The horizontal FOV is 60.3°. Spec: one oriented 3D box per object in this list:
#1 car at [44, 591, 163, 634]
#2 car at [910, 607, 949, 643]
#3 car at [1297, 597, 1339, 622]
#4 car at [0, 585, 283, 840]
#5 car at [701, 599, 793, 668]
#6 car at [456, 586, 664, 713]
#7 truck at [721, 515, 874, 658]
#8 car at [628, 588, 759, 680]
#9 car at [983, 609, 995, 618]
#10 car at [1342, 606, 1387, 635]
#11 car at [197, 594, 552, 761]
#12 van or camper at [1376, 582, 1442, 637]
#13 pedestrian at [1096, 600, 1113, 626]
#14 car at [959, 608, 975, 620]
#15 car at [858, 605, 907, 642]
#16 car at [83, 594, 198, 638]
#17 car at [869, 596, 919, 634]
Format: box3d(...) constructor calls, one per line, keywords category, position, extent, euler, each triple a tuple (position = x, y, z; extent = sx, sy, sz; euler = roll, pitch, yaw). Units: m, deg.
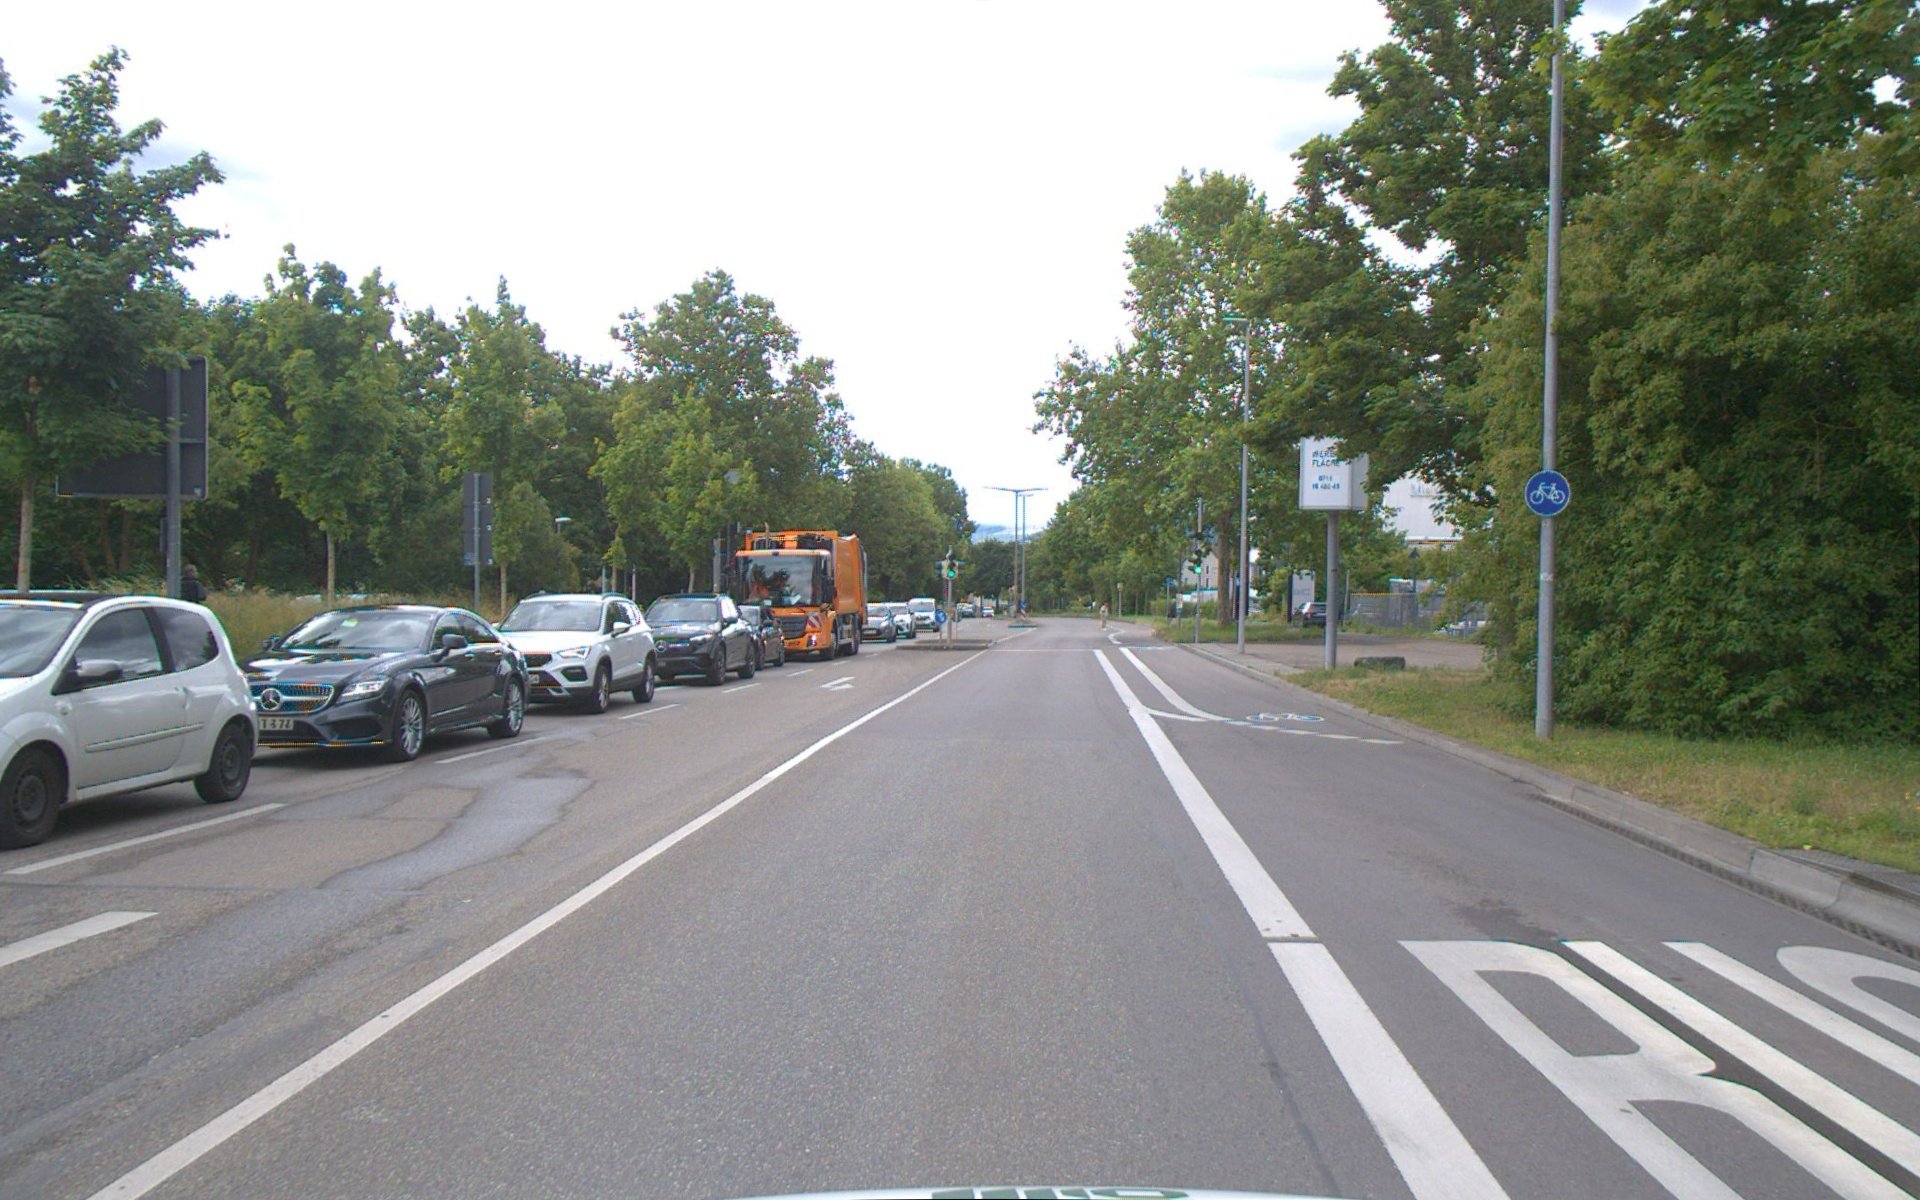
box3d(category="car", position=(-42.346, 0.616, 81.847), extent=(4.864, 2.049, 2.000), euler=(0, 0, 1))
box3d(category="car", position=(-1.619, 1.341, 90.230), extent=(1.808, 1.835, 4.651), euler=(-2, 0, 2))
box3d(category="car", position=(19.600, 0.519, 90.680), extent=(1.674, 1.378, 4.346), euler=(0, 0, 4))
box3d(category="car", position=(-6.048, 0.616, 10.721), extent=(1.605, 1.415, 3.764), euler=(0, 0, 3))
box3d(category="car", position=(-4.835, 0.722, 37.894), extent=(1.404, 1.483, 3.896), euler=(0, 0, 3))
box3d(category="car", position=(-5.504, 0.632, 23.298), extent=(1.694, 1.613, 4.225), euler=(0, 0, 3))
box3d(category="truck", position=(-4.323, -0.344, 46.223), extent=(2.649, 3.548, 9.999), euler=(0, 0, 4))
box3d(category="car", position=(-4.954, 0.598, 31.245), extent=(1.605, 1.613, 4.062), euler=(0, 0, 3))
box3d(category="car", position=(4.497, 2.034, 255.482), extent=(1.578, 1.327, 4.001), euler=(1, 0, 3))
box3d(category="car", position=(22.172, 1.104, 90.776), extent=(1.675, 1.534, 4.346), euler=(2, 0, 4))
box3d(category="car", position=(-5.614, 0.657, 16.592), extent=(1.605, 1.415, 4.887), euler=(0, 0, 3))
box3d(category="van or camper", position=(24.829, 0.503, 91.661), extent=(1.925, 2.919, 6.920), euler=(0, 0, 1))
box3d(category="pedestrian", position=(8.275, 0.756, 94.759), extent=(0.776, 1.489, 0.746), euler=(0, -1, -15))
box3d(category="car", position=(0.893, 1.666, 198.426), extent=(1.734, 1.327, 4.001), euler=(1, 0, 3))
box3d(category="car", position=(-2.977, 0.900, 63.962), extent=(1.515, 1.354, 3.655), euler=(-2, 0, 3))
box3d(category="car", position=(-42.169, 0.810, 85.170), extent=(4.865, 2.229, 2.000), euler=(0, 0, -1))
box3d(category="car", position=(-2.845, 0.654, 72.173), extent=(1.808, 1.547, 4.816), euler=(-2, 0, 2))
